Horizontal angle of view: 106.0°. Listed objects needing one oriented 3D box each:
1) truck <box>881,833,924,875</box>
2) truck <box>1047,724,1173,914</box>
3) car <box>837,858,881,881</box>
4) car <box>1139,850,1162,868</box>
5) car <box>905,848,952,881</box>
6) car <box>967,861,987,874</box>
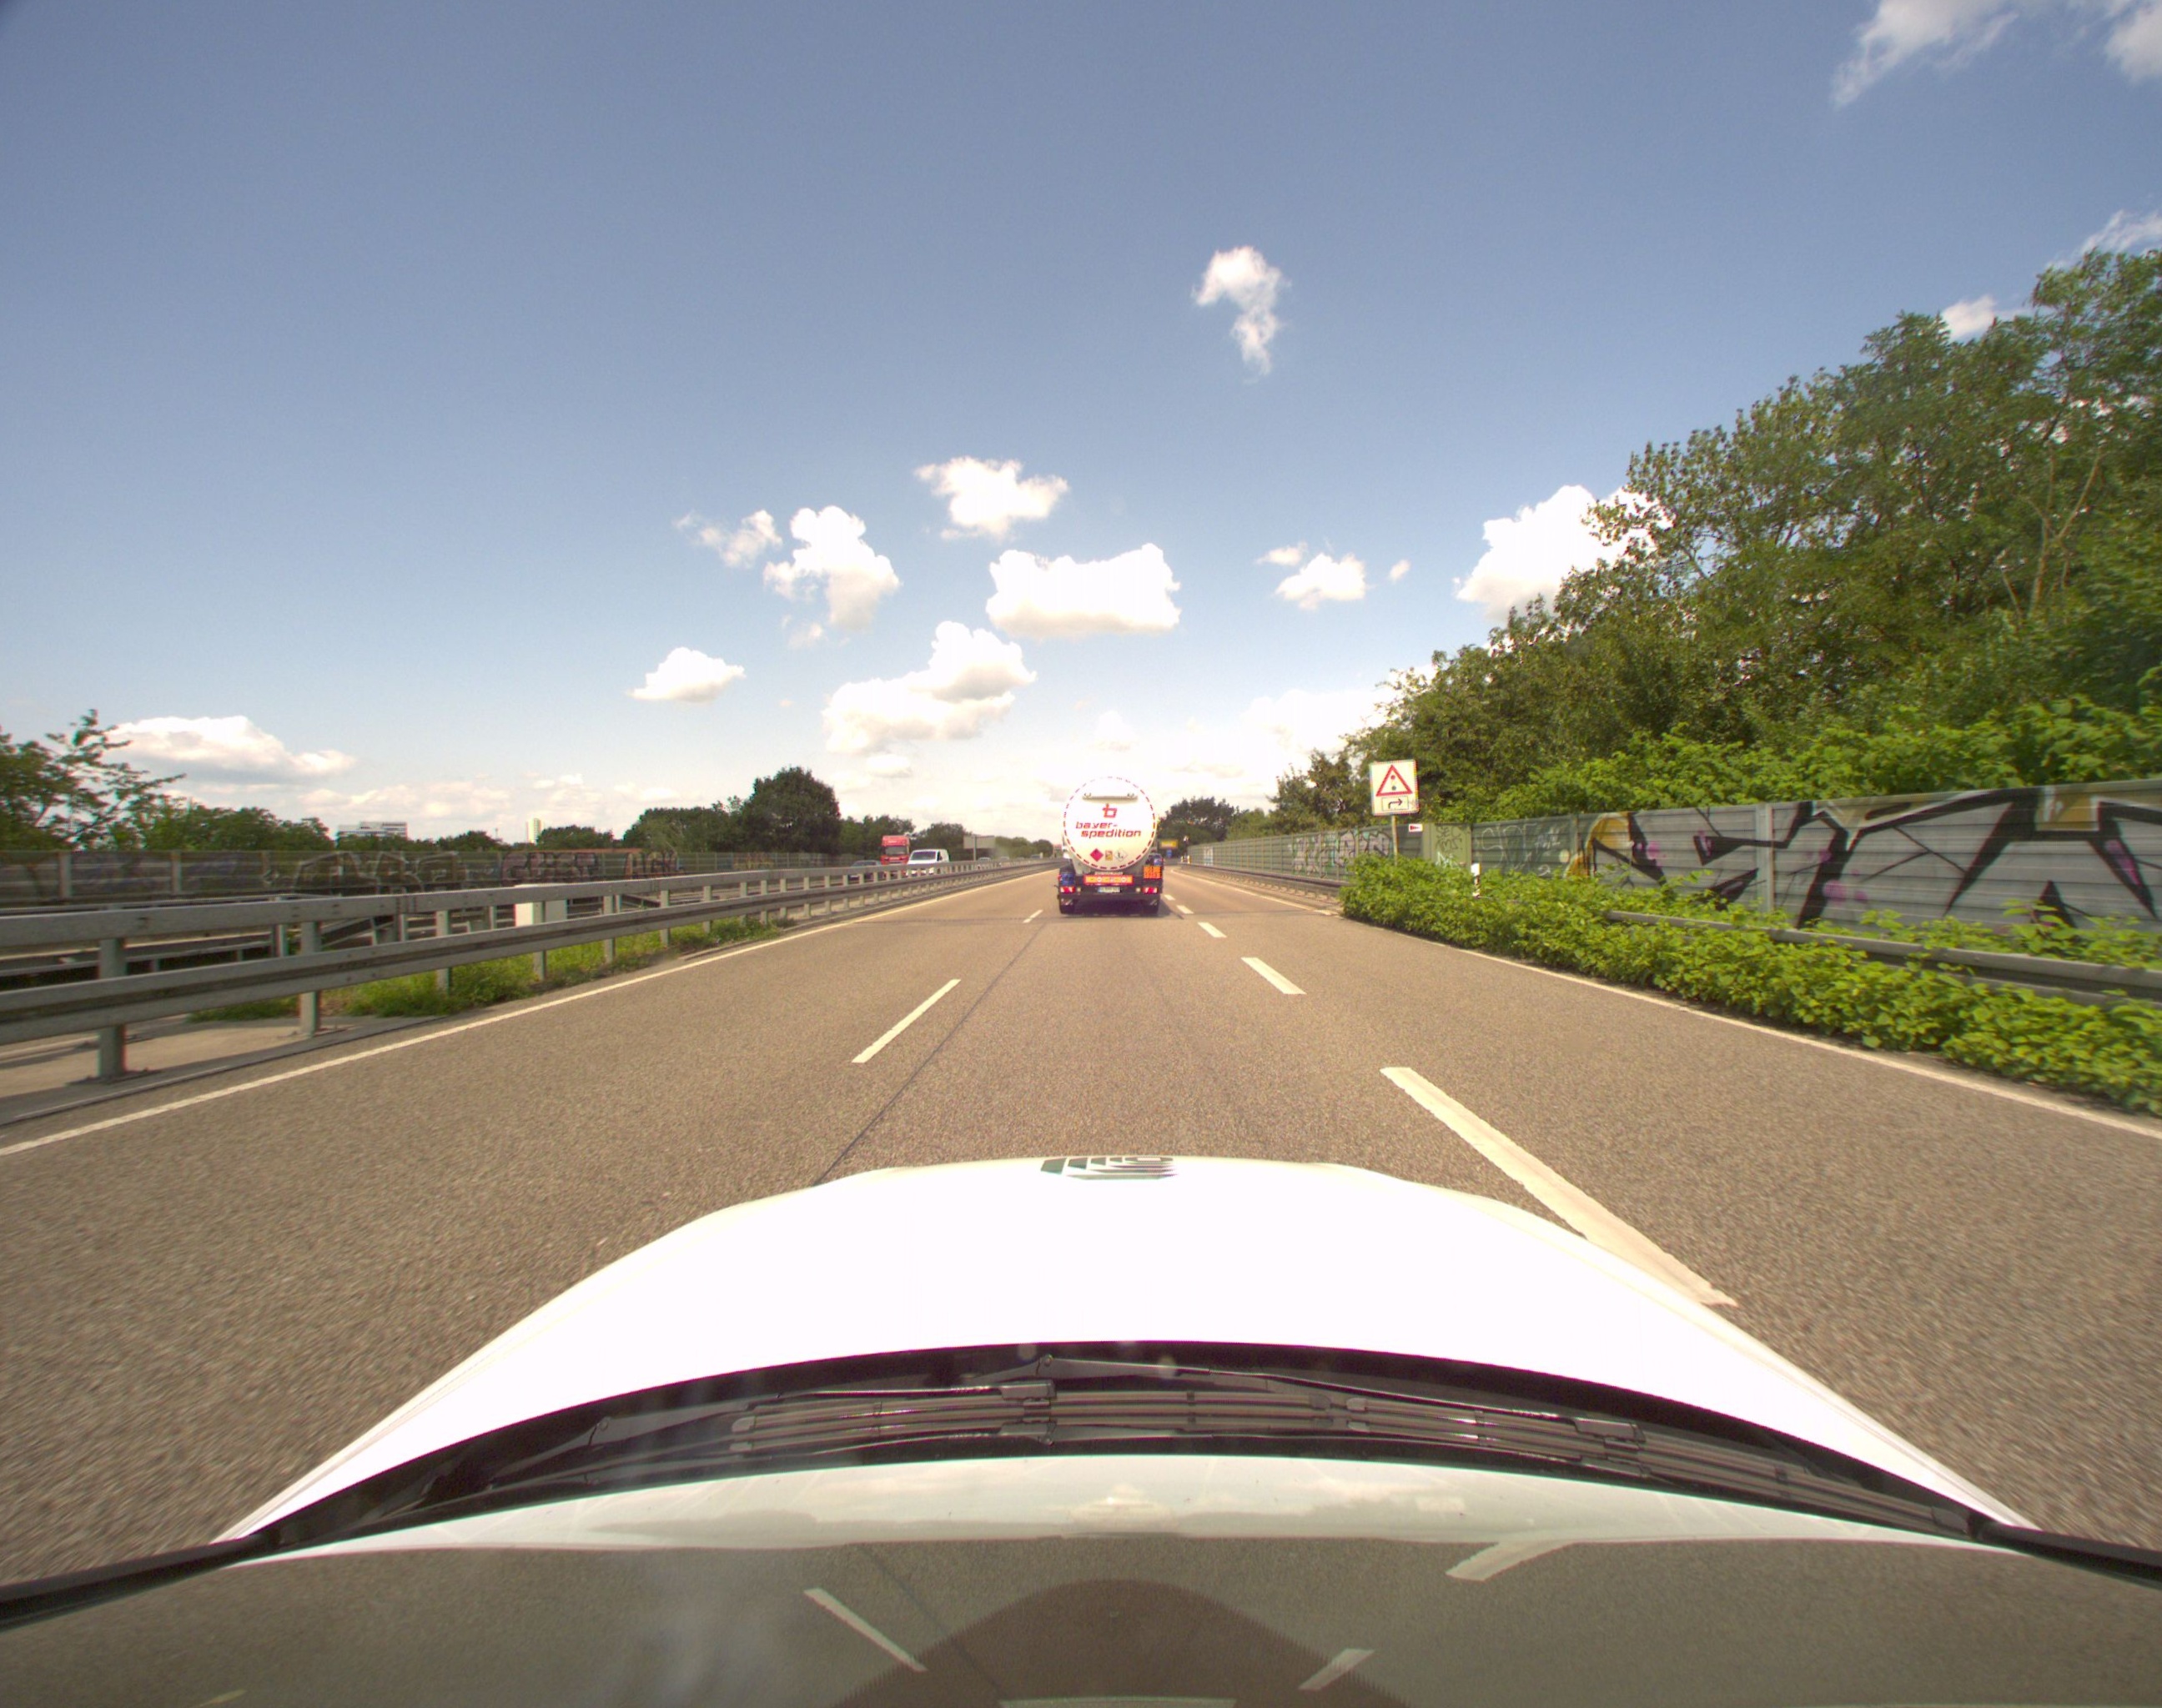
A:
[{"bbox_3d":[-16.537,0.012,75.822,2.639,3.782,6.231,0,0,0],"label":"truck"},{"bbox_3d":[0.798,-0.793,22.730,2.884,4.369,8.032,0,0,2],"label":"truck"},{"bbox_3d":[-14.450,0.973,53.178,1.683,1.431,4.401,0,0,-1],"label":"car"},{"bbox_3d":[6.922,0.513,81.445,1.986,1.706,4.001,0,0,2],"label":"car"},{"bbox_3d":[-9.694,0.667,52.251,2.073,1.989,5.227,0,0,-1],"label":"car"},{"bbox_3d":[-12.460,1.622,97.851,1.776,1.509,3.961,0,0,2],"label":"car"}]
